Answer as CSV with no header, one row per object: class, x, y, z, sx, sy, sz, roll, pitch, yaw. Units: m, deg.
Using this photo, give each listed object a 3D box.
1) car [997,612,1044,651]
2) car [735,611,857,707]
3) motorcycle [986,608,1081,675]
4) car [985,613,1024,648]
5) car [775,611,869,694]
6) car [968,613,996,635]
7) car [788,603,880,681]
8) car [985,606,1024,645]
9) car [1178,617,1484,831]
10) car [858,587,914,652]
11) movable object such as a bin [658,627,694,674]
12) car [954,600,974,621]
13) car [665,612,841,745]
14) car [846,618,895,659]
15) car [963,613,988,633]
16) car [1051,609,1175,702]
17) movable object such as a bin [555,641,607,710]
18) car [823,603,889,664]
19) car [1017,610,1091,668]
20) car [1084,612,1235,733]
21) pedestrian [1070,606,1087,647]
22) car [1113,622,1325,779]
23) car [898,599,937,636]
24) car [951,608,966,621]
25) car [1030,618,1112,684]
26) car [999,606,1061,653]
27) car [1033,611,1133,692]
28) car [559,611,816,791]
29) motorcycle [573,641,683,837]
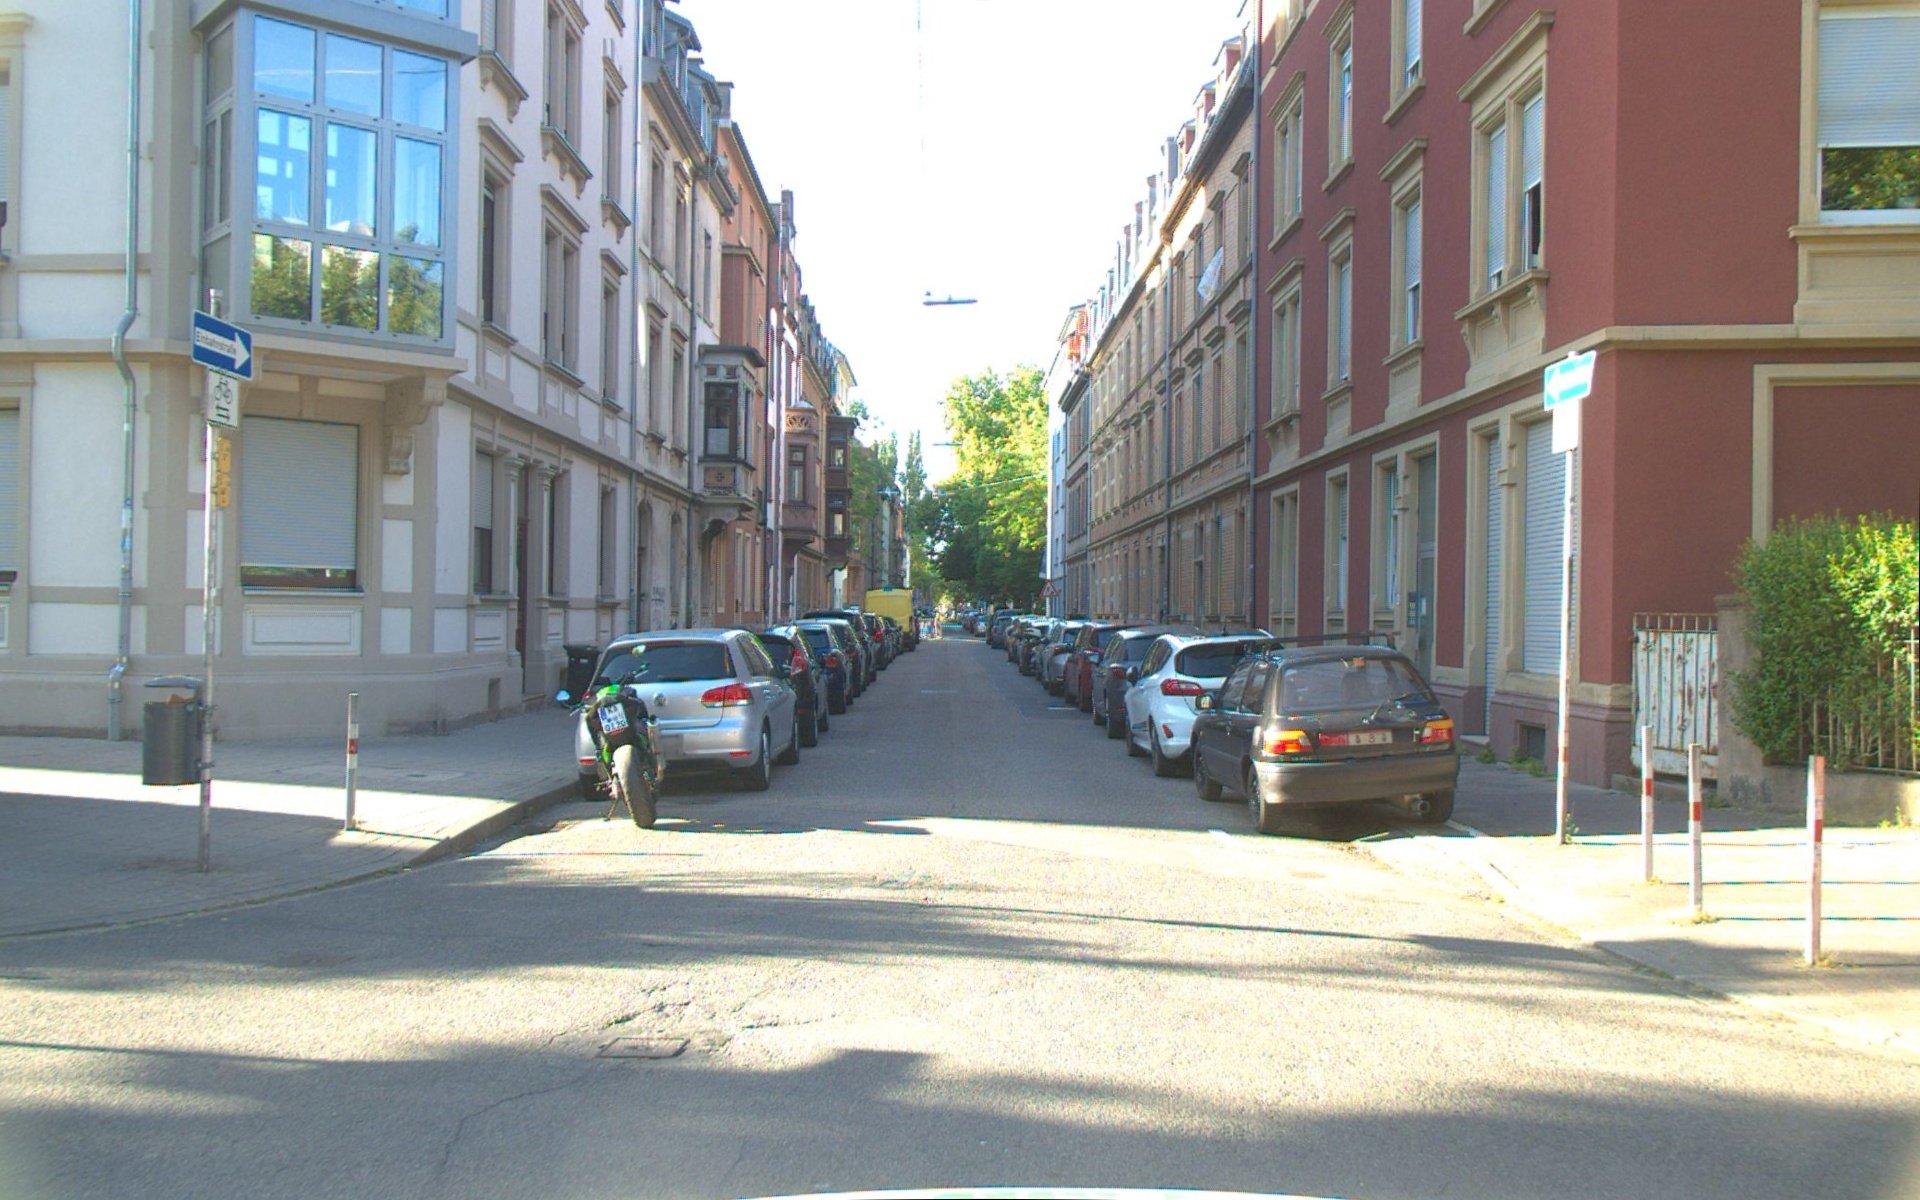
car,2.586,1.341,71.587,1.718,1.544,4.442,-3,0,-2
car,-2.644,0.925,27.437,1.745,1.428,3.741,1,0,-2
motorcycle,1.868,1.060,41.941,2.192,1.563,0.883,4,-1,-27
car,2.058,1.412,77.467,1.718,1.478,4.288,-3,0,1
car,-2.646,0.974,32.388,1.610,1.481,3.837,-1,0,-2
car,1.527,1.690,116.995,1.689,1.549,3.997,1,0,-3
car,-2.800,0.909,37.570,1.725,1.646,4.188,1,0,0
car,2.189,1.240,82.908,1.718,1.817,4.722,-2,0,-1
car,2.963,0.931,13.963,1.634,1.509,3.705,1,0,-2
car,-3.046,0.802,69.396,2.131,2.552,5.876,-1,0,-1
movable object such as a bin,-5.761,1.022,33.572,0.600,0.936,0.733,1,-1,-1
car,0.424,1.215,188.342,2.117,2.295,4.523,1,-1,-2
car,-2.544,0.924,21.123,1.744,1.509,3.742,1,0,0
car,-3.123,1.333,57.990,1.585,1.350,3.611,-2,0,-2
car,1.275,1.928,138.272,1.856,1.654,3.998,1,-1,-2
car,2.655,0.933,29.451,1.625,1.505,4.022,1,0,-3
movable object such as a bin,-5.537,1.100,24.191,0.609,0.972,0.511,3,-1,-1
car,-2.941,0.938,47.466,1.745,1.634,4.067,1,0,-2
car,2.510,1.022,44.970,1.741,1.421,4.317,1,0,0
car,2.779,0.966,23.817,1.642,1.529,4.068,1,0,0
pedestrian,4.814,1.082,67.023,0.639,1.659,0.881,-1,-1,3
car,2.766,1.029,18.479,1.670,1.488,3.969,1,0,-1
car,-2.185,0.891,84.144,1.782,1.797,4.332,1,-1,-3
car,-0.258,2.001,226.222,1.953,1.758,3.999,1,0,-1
car,2.591,1.179,39.425,1.657,1.431,3.992,1,0,0
car,2.346,0.990,55.976,1.719,1.471,4.067,-2,-1,-2
car,2.491,1.016,34.360,1.726,1.510,4.401,1,0,0
car,-2.528,0.887,16.278,1.744,1.509,3.933,1,0,2
motorcycle,-2.572,1.029,12.972,0.663,1.357,1.997,-1,0,-7
